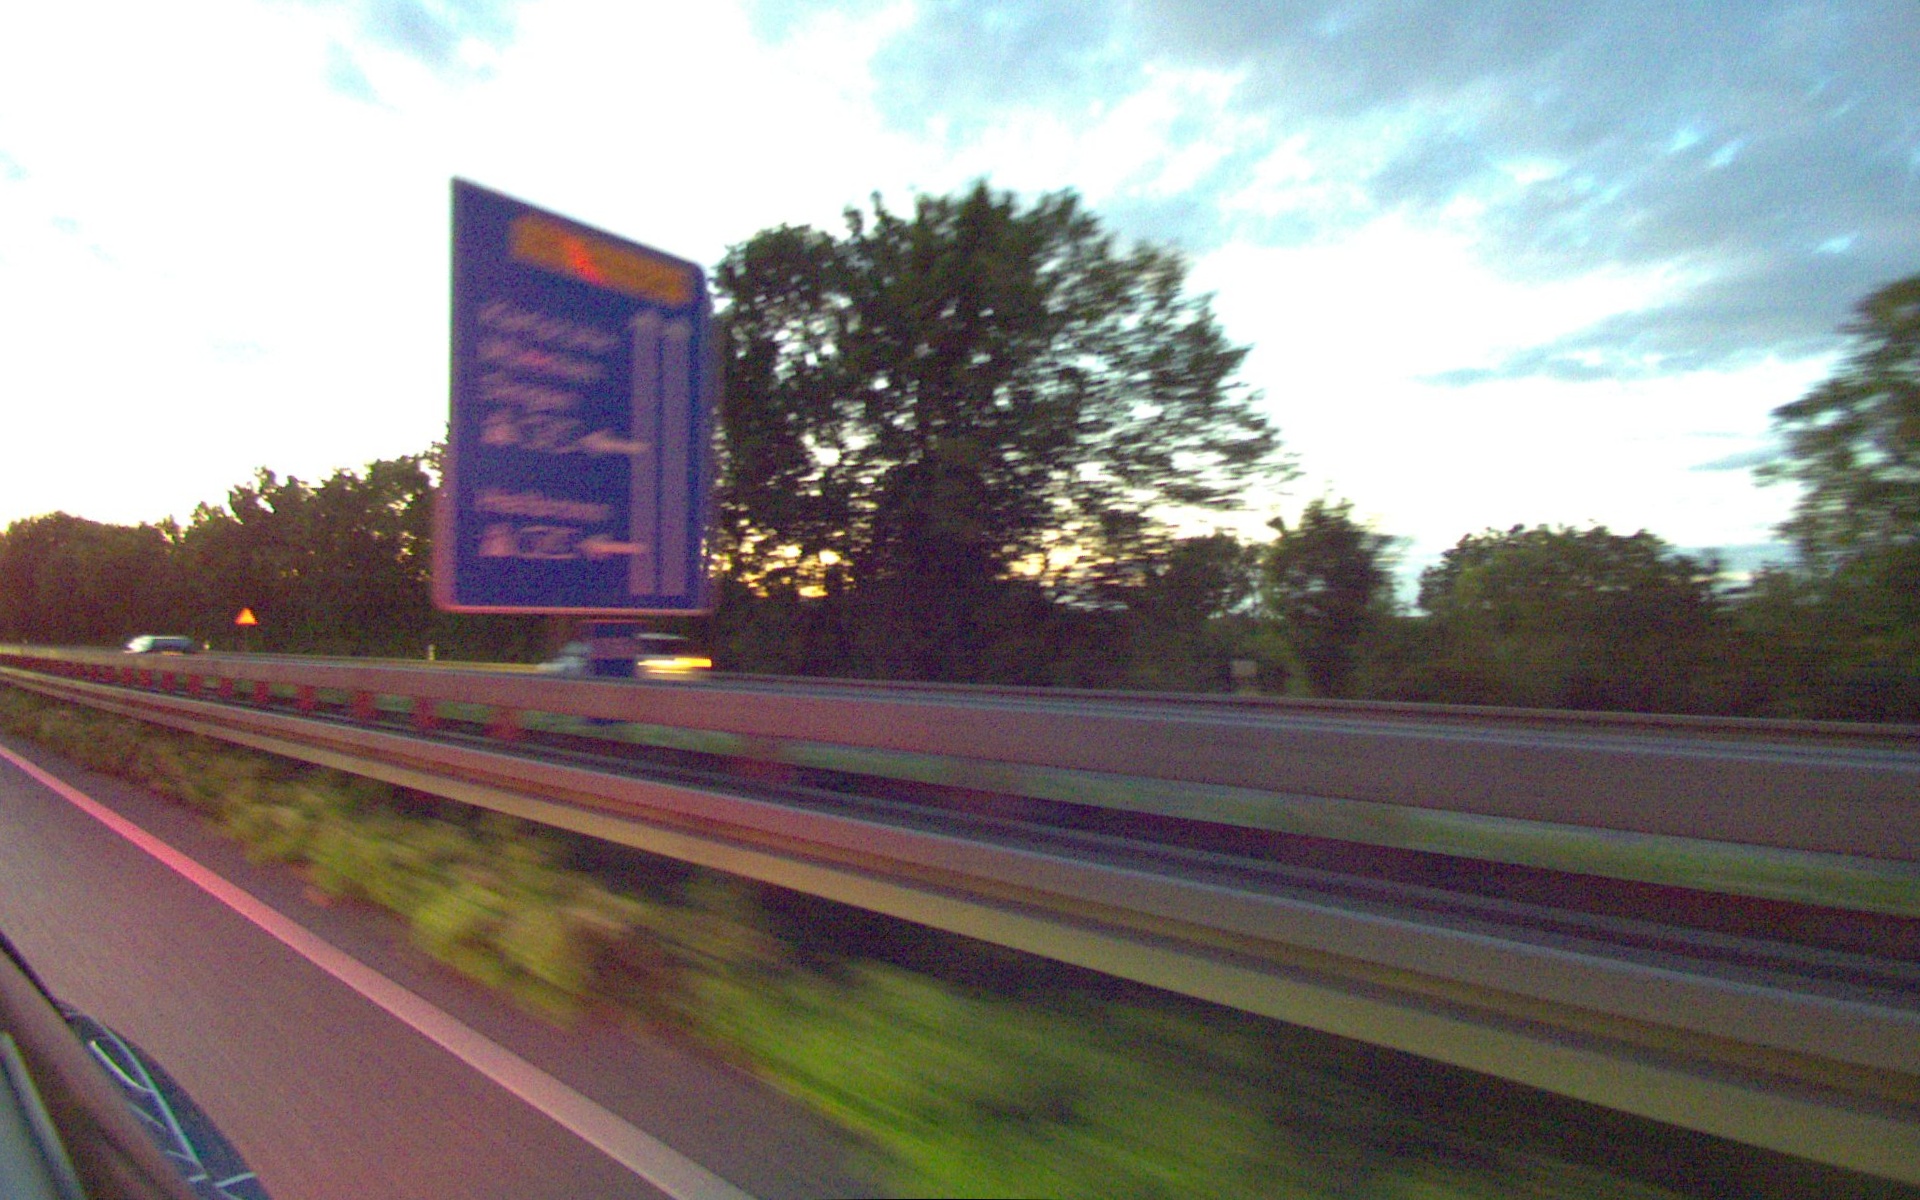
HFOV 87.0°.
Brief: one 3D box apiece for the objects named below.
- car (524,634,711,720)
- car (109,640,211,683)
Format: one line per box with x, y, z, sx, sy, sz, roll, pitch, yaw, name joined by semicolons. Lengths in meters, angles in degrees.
-7.578;1.607;22.196;4.497;1.684;1.777;-2;-2;39;car
-28.666;2.155;36.219;4.497;1.443;1.901;-2;-4;39;car
